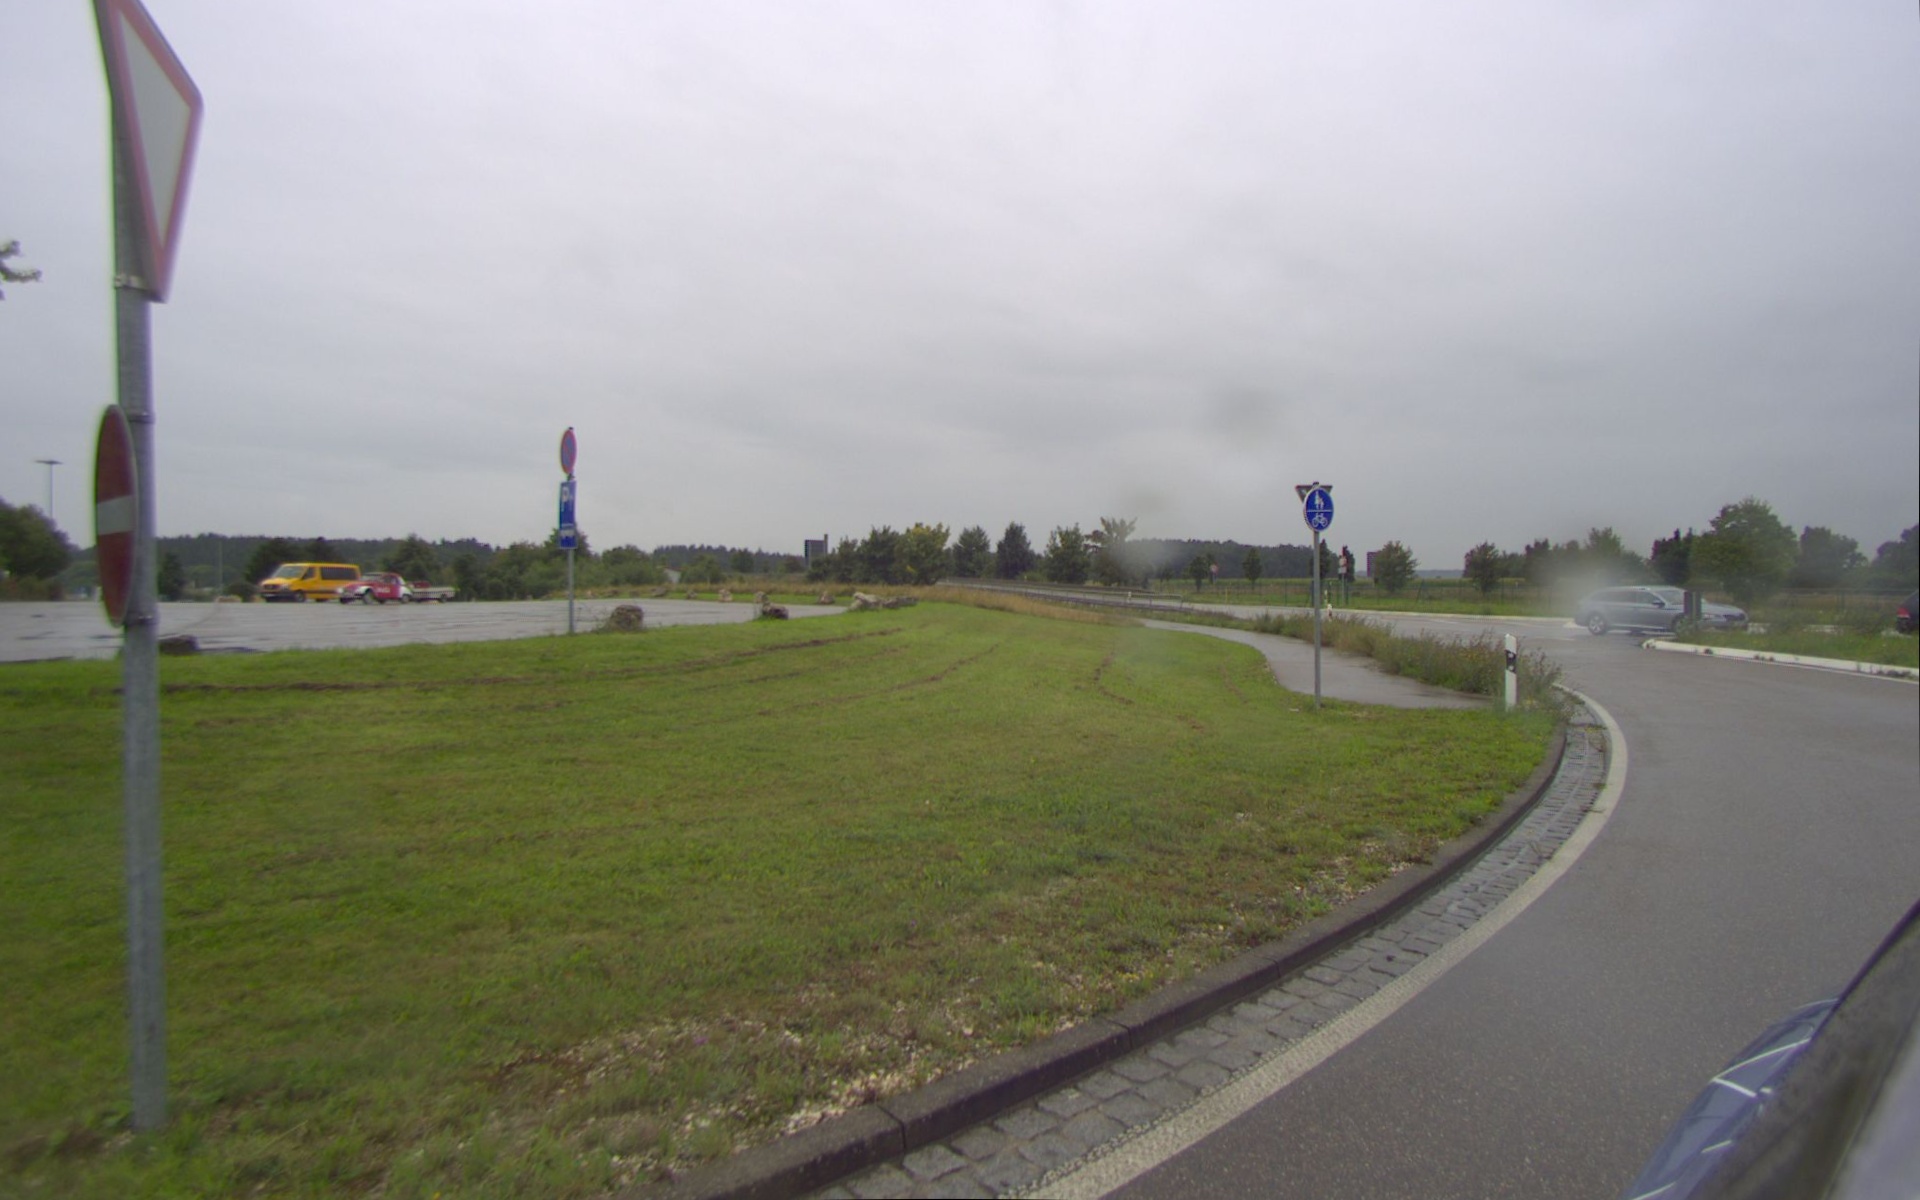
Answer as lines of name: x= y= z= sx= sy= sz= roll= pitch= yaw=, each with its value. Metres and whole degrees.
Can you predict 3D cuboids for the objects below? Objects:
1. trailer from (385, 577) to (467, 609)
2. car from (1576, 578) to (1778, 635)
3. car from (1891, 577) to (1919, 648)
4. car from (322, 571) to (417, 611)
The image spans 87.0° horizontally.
trailer: x=-27.516 y=-0.384 z=52.307 sx=1.673 sy=1.552 sz=3.989 roll=-1 pitch=1 yaw=9
car: x=21.219 y=0.123 z=30.212 sx=1.958 sy=1.500 sz=4.673 roll=-2 pitch=2 yaw=-17
car: x=23.418 y=0.323 z=21.836 sx=1.958 sy=1.623 sz=4.534 roll=1 pitch=1 yaw=-15
car: x=-28.160 y=-0.444 z=48.380 sx=1.798 sy=1.799 sz=3.989 roll=-1 pitch=0 yaw=10
